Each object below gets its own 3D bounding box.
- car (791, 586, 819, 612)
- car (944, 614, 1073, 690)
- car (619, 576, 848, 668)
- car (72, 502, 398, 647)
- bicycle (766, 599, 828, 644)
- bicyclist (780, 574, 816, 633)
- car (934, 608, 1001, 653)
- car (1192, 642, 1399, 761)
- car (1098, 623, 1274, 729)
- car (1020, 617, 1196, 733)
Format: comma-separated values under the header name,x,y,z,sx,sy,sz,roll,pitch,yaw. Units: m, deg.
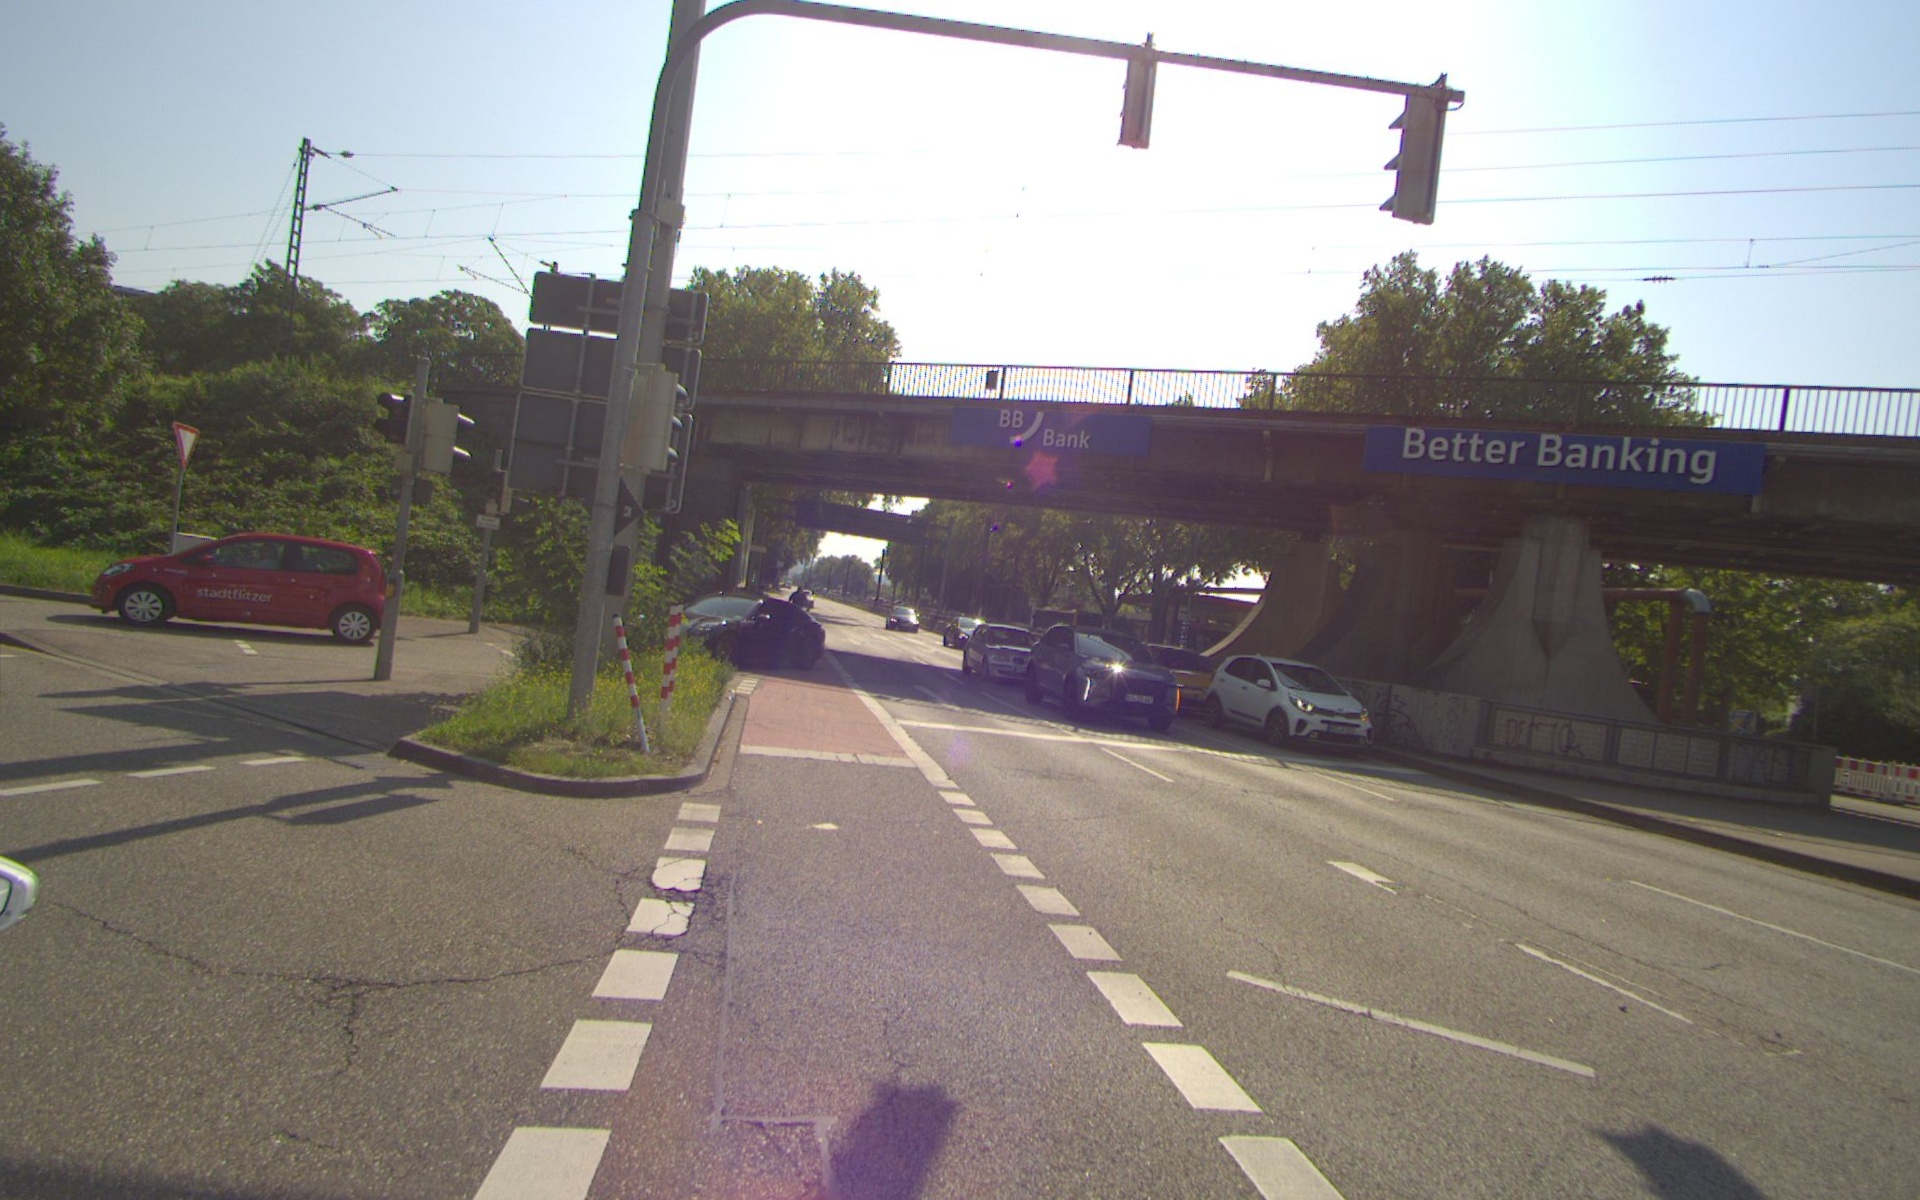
name,x,y,z,sx,sy,sz,roll,pitch,yaw
car,-14.598,-0.079,94.563,1.970,2.036,3.990,11,-1,-13
car,1.147,1.276,26.077,1.970,1.538,4.338,9,-3,-14
car,-4.395,0.525,20.441,1.964,1.481,4.885,6,-1,23
car,-10.285,-0.316,14.566,3.522,1.484,1.629,9,-2,-34
bicycle,-5.096,0.637,31.199,1.219,1.062,2.963,8,0,-21
bicyclist,-5.003,0.100,30.961,0.703,1.678,0.965,8,0,-21
car,0.264,1.331,45.098,1.829,1.501,4.173,9,0,-14
car,5.928,1.753,18.270,1.700,1.557,3.685,7,0,-14
car,4.958,1.630,22.769,1.970,1.592,4.332,9,1,-14
car,2.571,1.279,18.697,1.875,1.636,4.469,7,-1,-8
